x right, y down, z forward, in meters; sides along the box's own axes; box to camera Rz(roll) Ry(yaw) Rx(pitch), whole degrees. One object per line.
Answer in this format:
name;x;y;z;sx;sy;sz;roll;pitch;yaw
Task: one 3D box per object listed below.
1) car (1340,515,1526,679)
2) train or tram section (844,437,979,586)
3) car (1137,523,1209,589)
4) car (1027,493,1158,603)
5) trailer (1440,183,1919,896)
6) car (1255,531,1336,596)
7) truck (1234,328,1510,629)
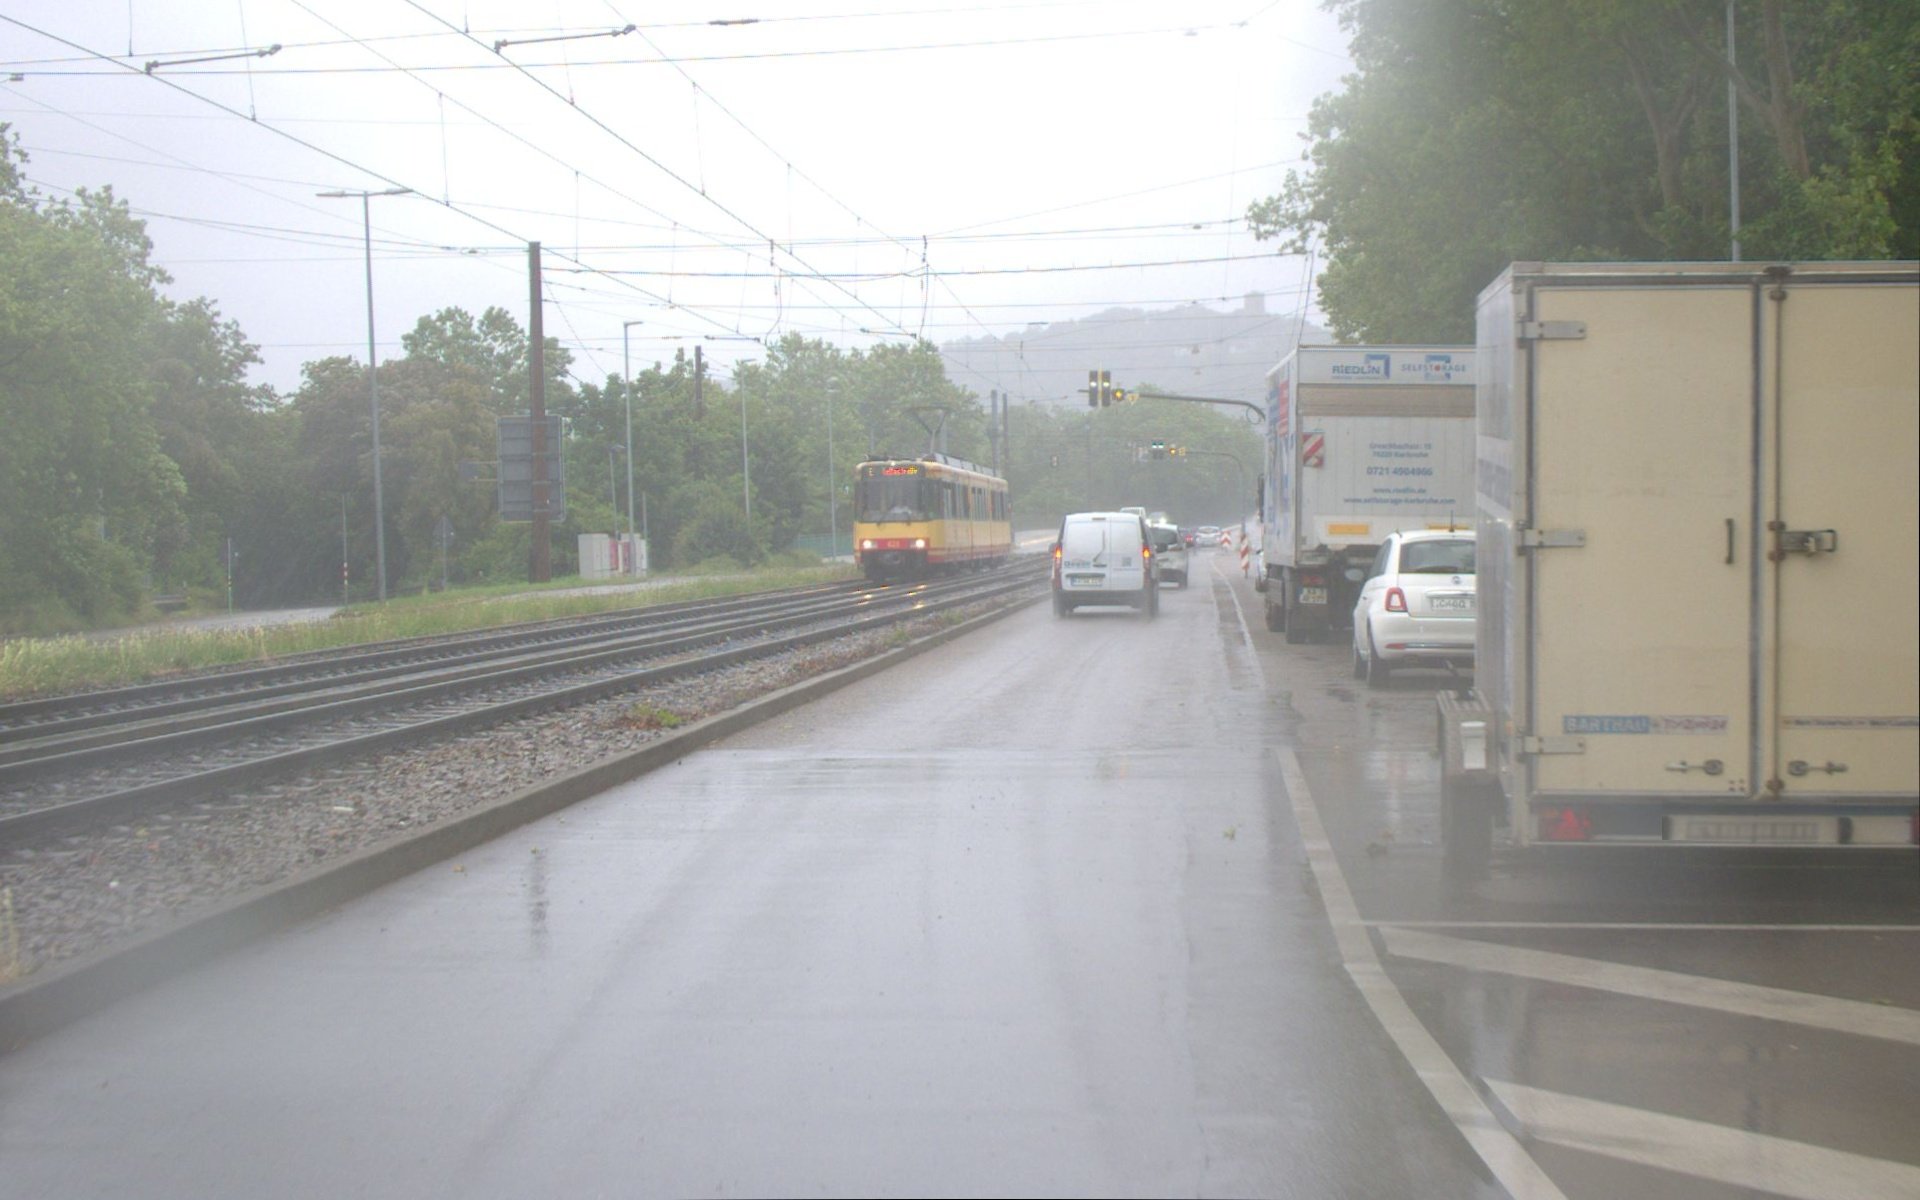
car;4.645;-0.075;34.040;1.714;1.523;3.999;0;1;7
train or tram section;-1.323;-2.632;102.882;2.807;4.135;13.018;0;1;5
car;5.453;-1.112;87.697;1.786;1.637;3.967;0;1;4
car;2.280;-0.929;60.130;1.993;1.842;4.001;-1;1;-2
trailer;3.413;-0.266;16.135;2.166;2.748;5.675;0;1;7
car;8.106;-0.909;83.402;1.820;1.481;4.480;1;2;4
truck;5.449;-1.551;47.137;2.775;3.691;9.852;0;1;1
